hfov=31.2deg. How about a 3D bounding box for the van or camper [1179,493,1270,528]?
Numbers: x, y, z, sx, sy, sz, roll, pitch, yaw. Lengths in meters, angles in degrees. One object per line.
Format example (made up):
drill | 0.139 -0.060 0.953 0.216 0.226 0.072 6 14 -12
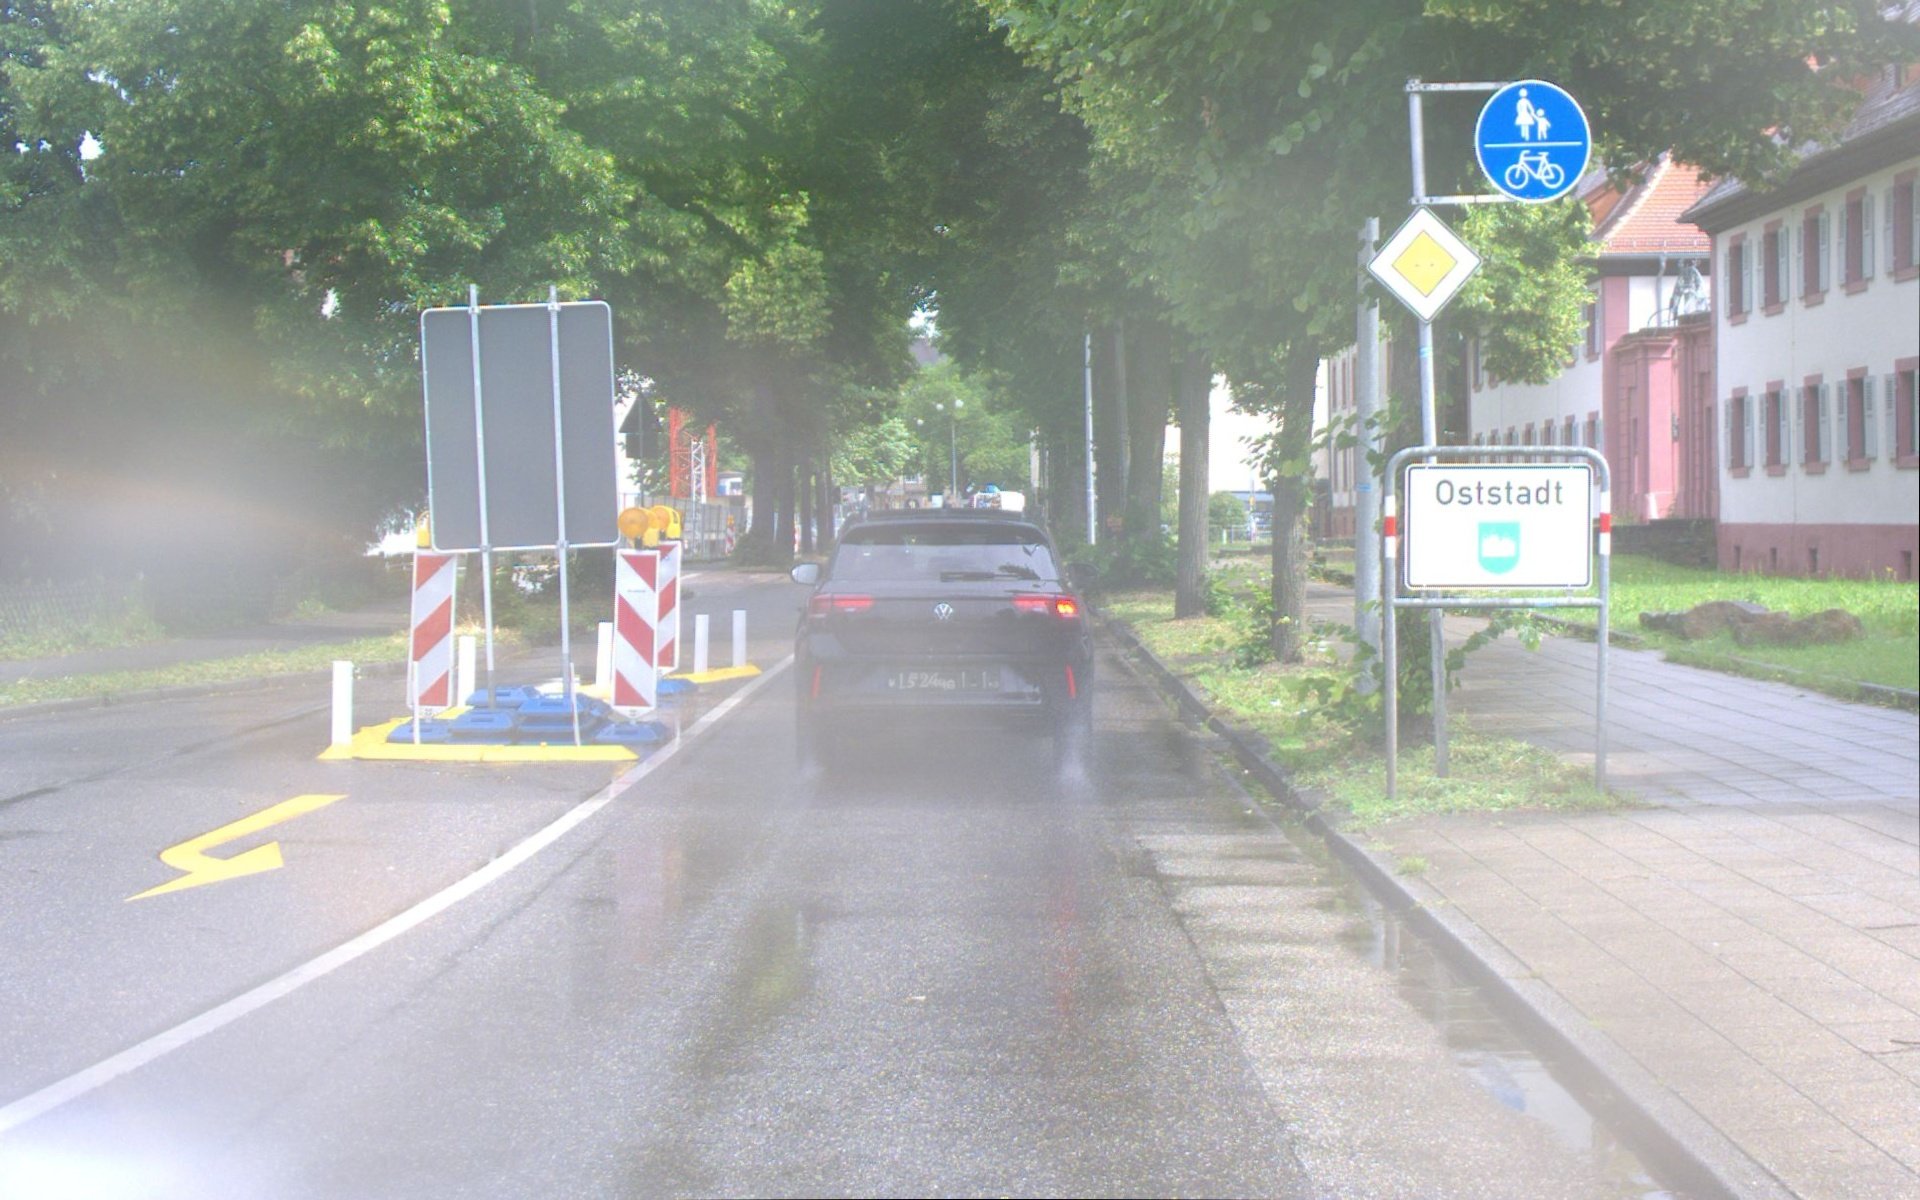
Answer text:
van or camper | 14.546 -4.937 189.444 4.875 1.919 2.131 0 2 1

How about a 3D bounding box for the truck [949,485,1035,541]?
truck | 1.517 -4.297 168.465 2.804 2.647 8.243 -1 2 -10

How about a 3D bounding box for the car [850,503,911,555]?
car | -2.709 -2.443 118.071 1.886 1.707 4.230 -1 2 1

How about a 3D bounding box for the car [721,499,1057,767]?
car | -0.349 0.140 21.508 1.895 1.517 4.000 0 1 2

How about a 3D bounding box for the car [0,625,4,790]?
car | -6.152 0.349 16.802 1.680 1.503 3.793 -1 2 3
